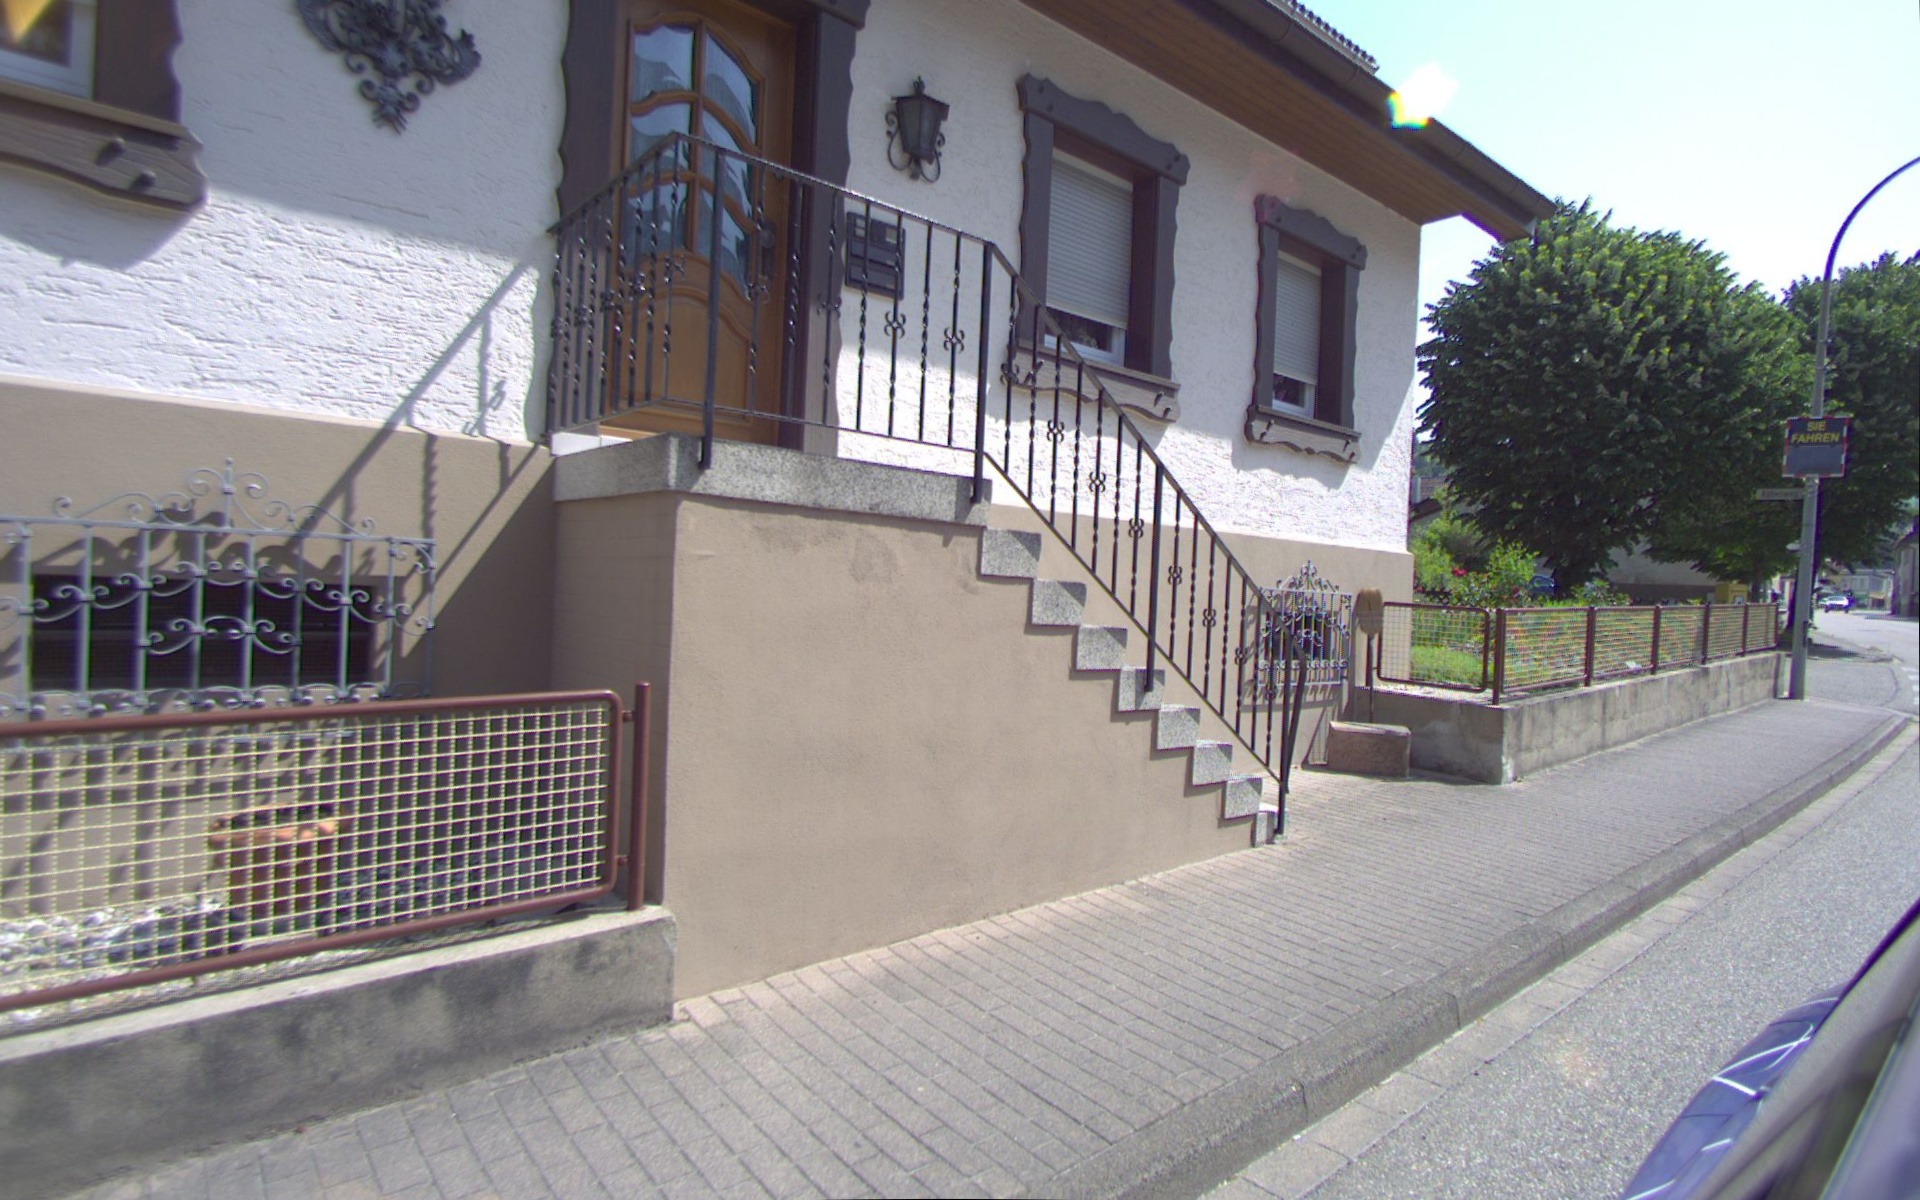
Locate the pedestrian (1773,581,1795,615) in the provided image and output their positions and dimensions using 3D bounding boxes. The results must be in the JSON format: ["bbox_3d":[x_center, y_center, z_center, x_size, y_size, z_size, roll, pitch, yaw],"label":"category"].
[{"bbox_3d":[42.606,-0.117,52.327,0.700,1.691,0.682,1,3,-41],"label":"pedestrian"}]

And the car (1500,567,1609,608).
[{"bbox_3d":[25.469,-0.563,43.409,3.823,1.423,1.546,6,4,36],"label":"car"}]

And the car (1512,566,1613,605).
[{"bbox_3d":[28.428,-0.709,47.766,3.925,1.489,1.635,6,4,34],"label":"car"}]

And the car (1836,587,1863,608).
[{"bbox_3d":[93.527,-0.266,106.443,1.991,2.039,3.940,-3,-2,41],"label":"car"}]
